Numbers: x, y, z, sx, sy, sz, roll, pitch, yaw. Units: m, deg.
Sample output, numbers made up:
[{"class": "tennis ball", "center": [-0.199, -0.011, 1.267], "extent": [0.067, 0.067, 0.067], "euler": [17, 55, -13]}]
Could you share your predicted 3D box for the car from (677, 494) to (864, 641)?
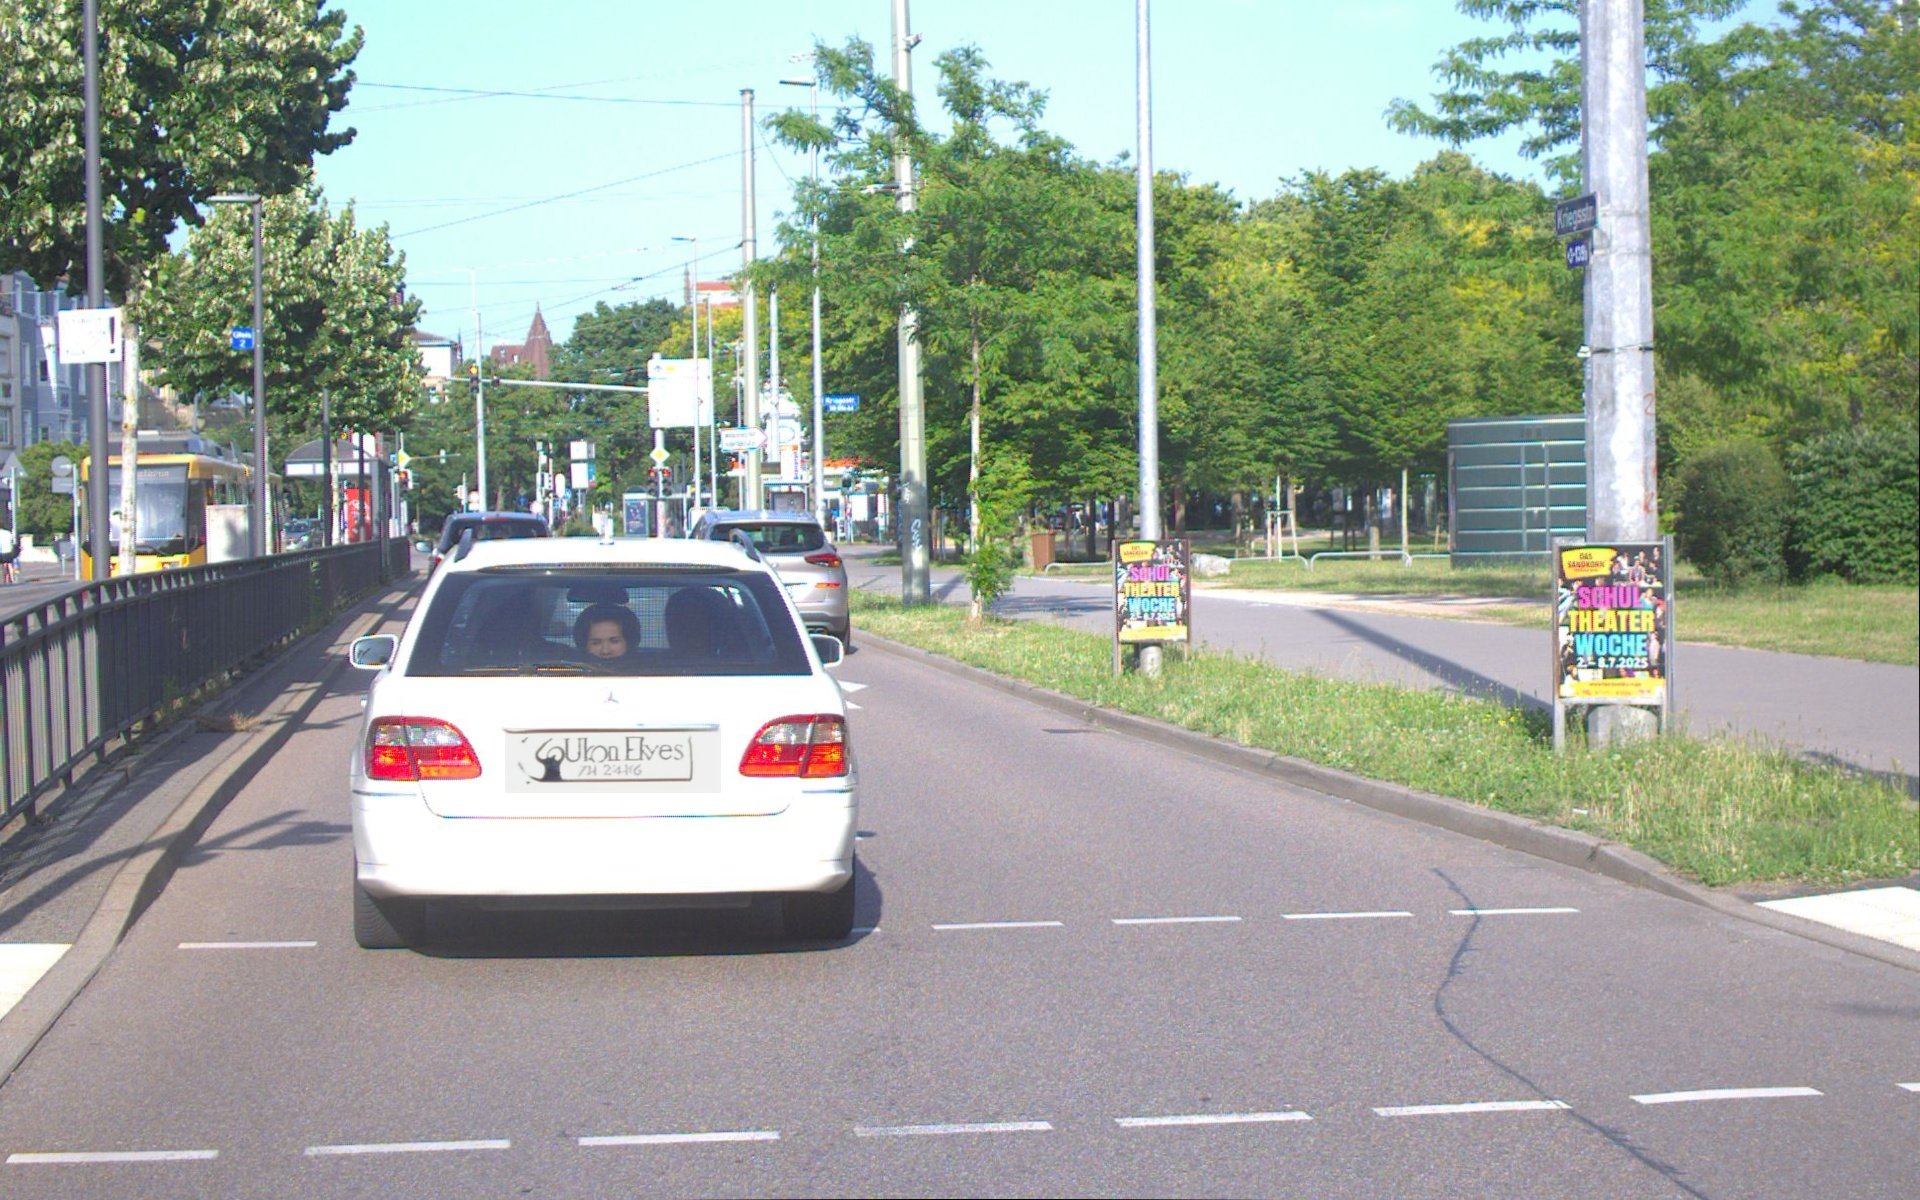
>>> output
[{"class": "car", "center": [-2.205, -0.420, 39.549], "extent": [2.033, 1.600, 4.001], "euler": [0, 2, -4]}]

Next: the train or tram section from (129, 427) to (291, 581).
[{"class": "train or tram section", "center": [-18.232, -2.369, 84.273], "extent": [2.849, 3.467, 13.204], "euler": [0, 2, -8]}]

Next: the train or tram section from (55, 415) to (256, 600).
[{"class": "train or tram section", "center": [-16.514, -1.961, 71.429], "extent": [2.849, 3.467, 13.204], "euler": [0, 2, -8]}]

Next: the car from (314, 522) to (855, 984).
[{"class": "car", "center": [-1.320, 0.489, 13.205], "extent": [1.758, 1.498, 4.000], "euler": [0, 0, -3]}]

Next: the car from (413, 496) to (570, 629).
[{"class": "car", "center": [-6.164, -0.537, 45.574], "extent": [1.787, 1.684, 4.001], "euler": [0, 2, -4]}]
